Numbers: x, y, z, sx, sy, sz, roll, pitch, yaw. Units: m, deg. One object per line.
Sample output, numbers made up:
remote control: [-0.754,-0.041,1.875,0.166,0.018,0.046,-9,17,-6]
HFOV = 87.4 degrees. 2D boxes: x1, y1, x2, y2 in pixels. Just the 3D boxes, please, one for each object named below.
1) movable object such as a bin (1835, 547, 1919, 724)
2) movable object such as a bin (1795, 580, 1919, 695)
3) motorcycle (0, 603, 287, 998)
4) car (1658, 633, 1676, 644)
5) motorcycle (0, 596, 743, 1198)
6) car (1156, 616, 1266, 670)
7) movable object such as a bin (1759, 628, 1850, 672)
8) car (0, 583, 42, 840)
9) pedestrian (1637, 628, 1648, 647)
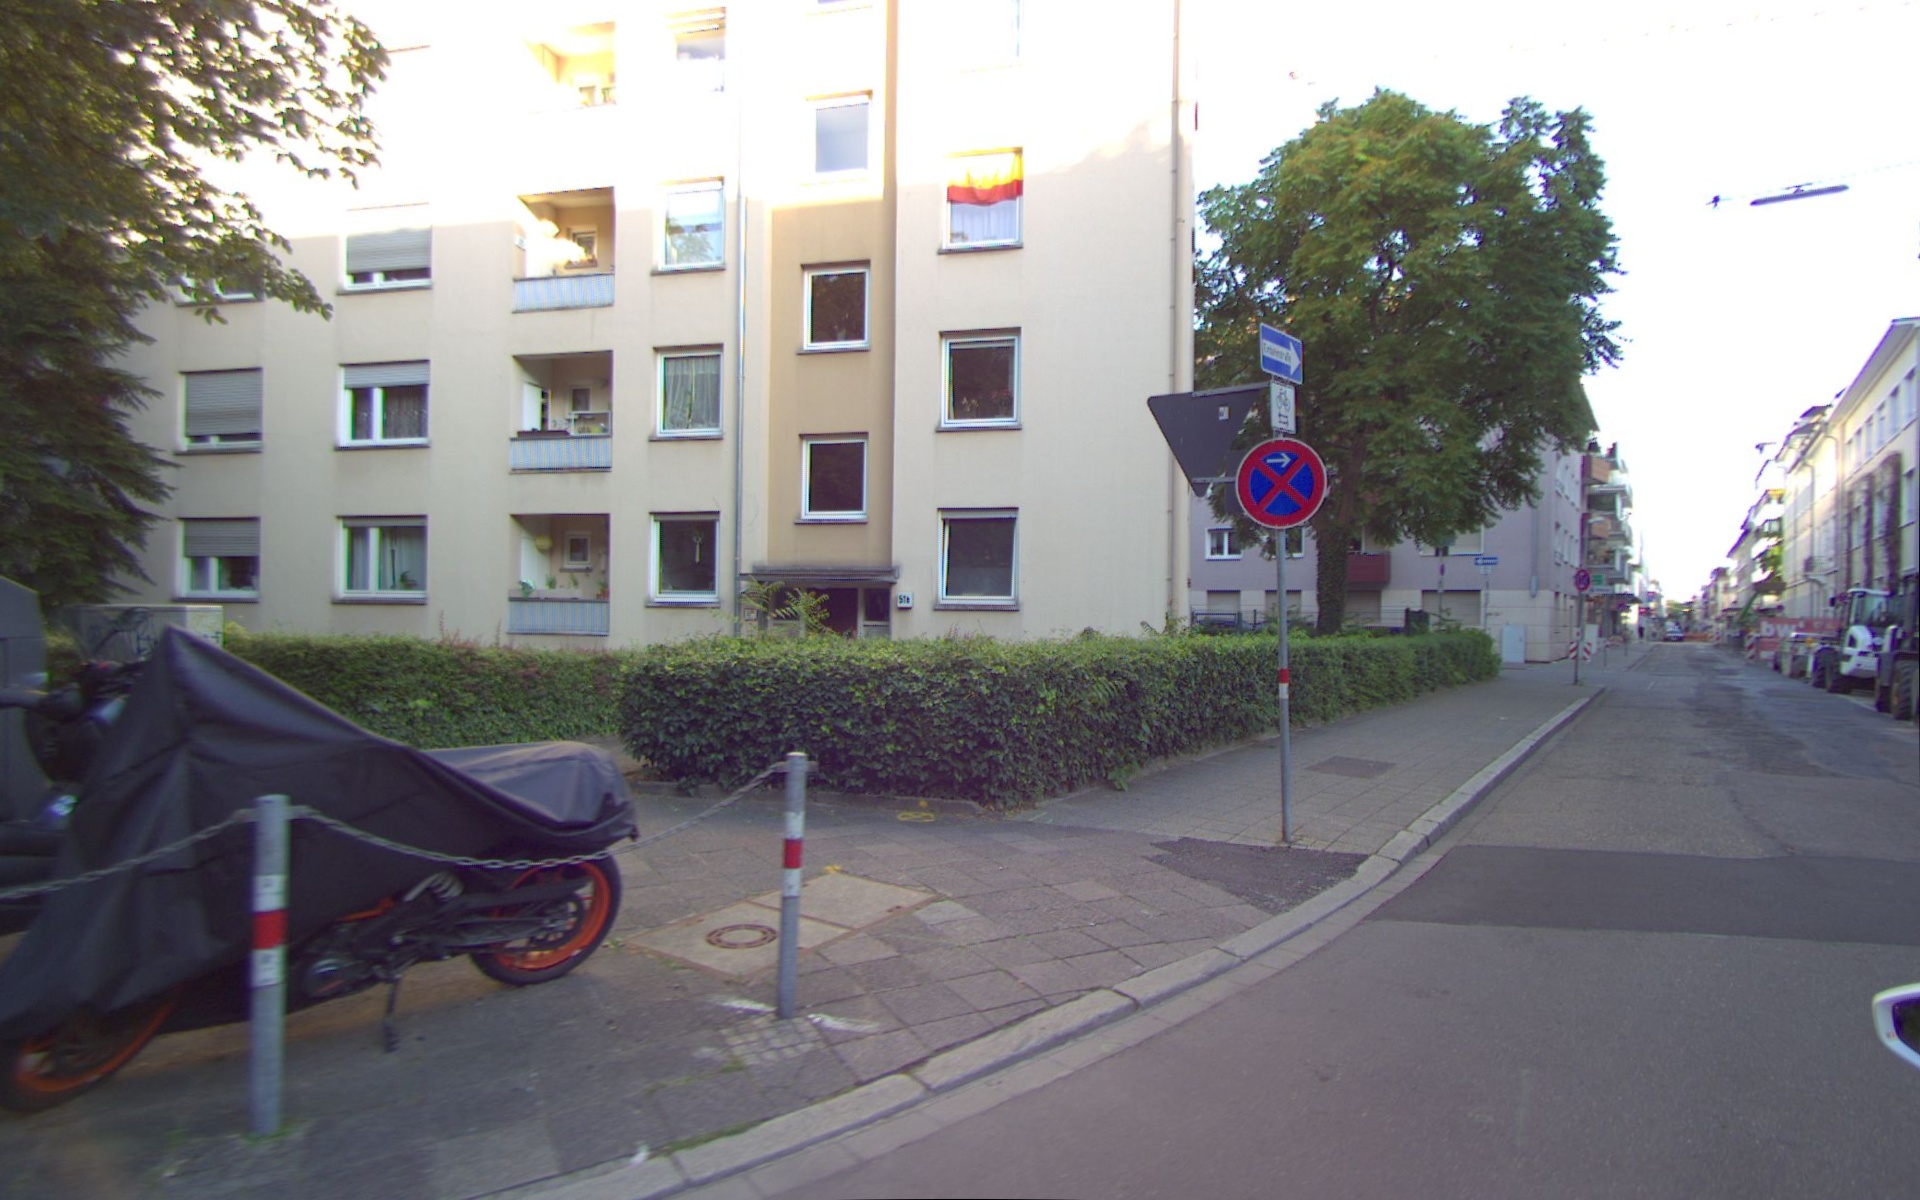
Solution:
movable object such as a bin: [17.119,0.597,17.382,2.246,2.728,5.633,0,-1,34]
movable object such as a bin: [22.146,0.890,24.546,2.246,2.574,4.086,0,-1,34]
motorcycle: [-3.948,0.726,3.682,0.892,1.439,2.462,1,-1,15]
car: [81.134,4.386,115.307,1.515,1.149,3.114,0,-1,32]
motorcycle: [-1.926,0.731,3.398,0.840,1.439,2.241,0,-1,44]
car: [9.103,1.525,36.463,3.473,1.780,1.880,0,0,33]
movable object such as a bin: [29.812,1.723,35.590,2.018,1.430,3.963,0,-1,34]
car: [-7.400,0.647,4.378,2.033,1.573,4.636,1,0,15]
pedestrian: [62.658,3.447,92.180,0.787,1.683,0.741,0,-1,39]
